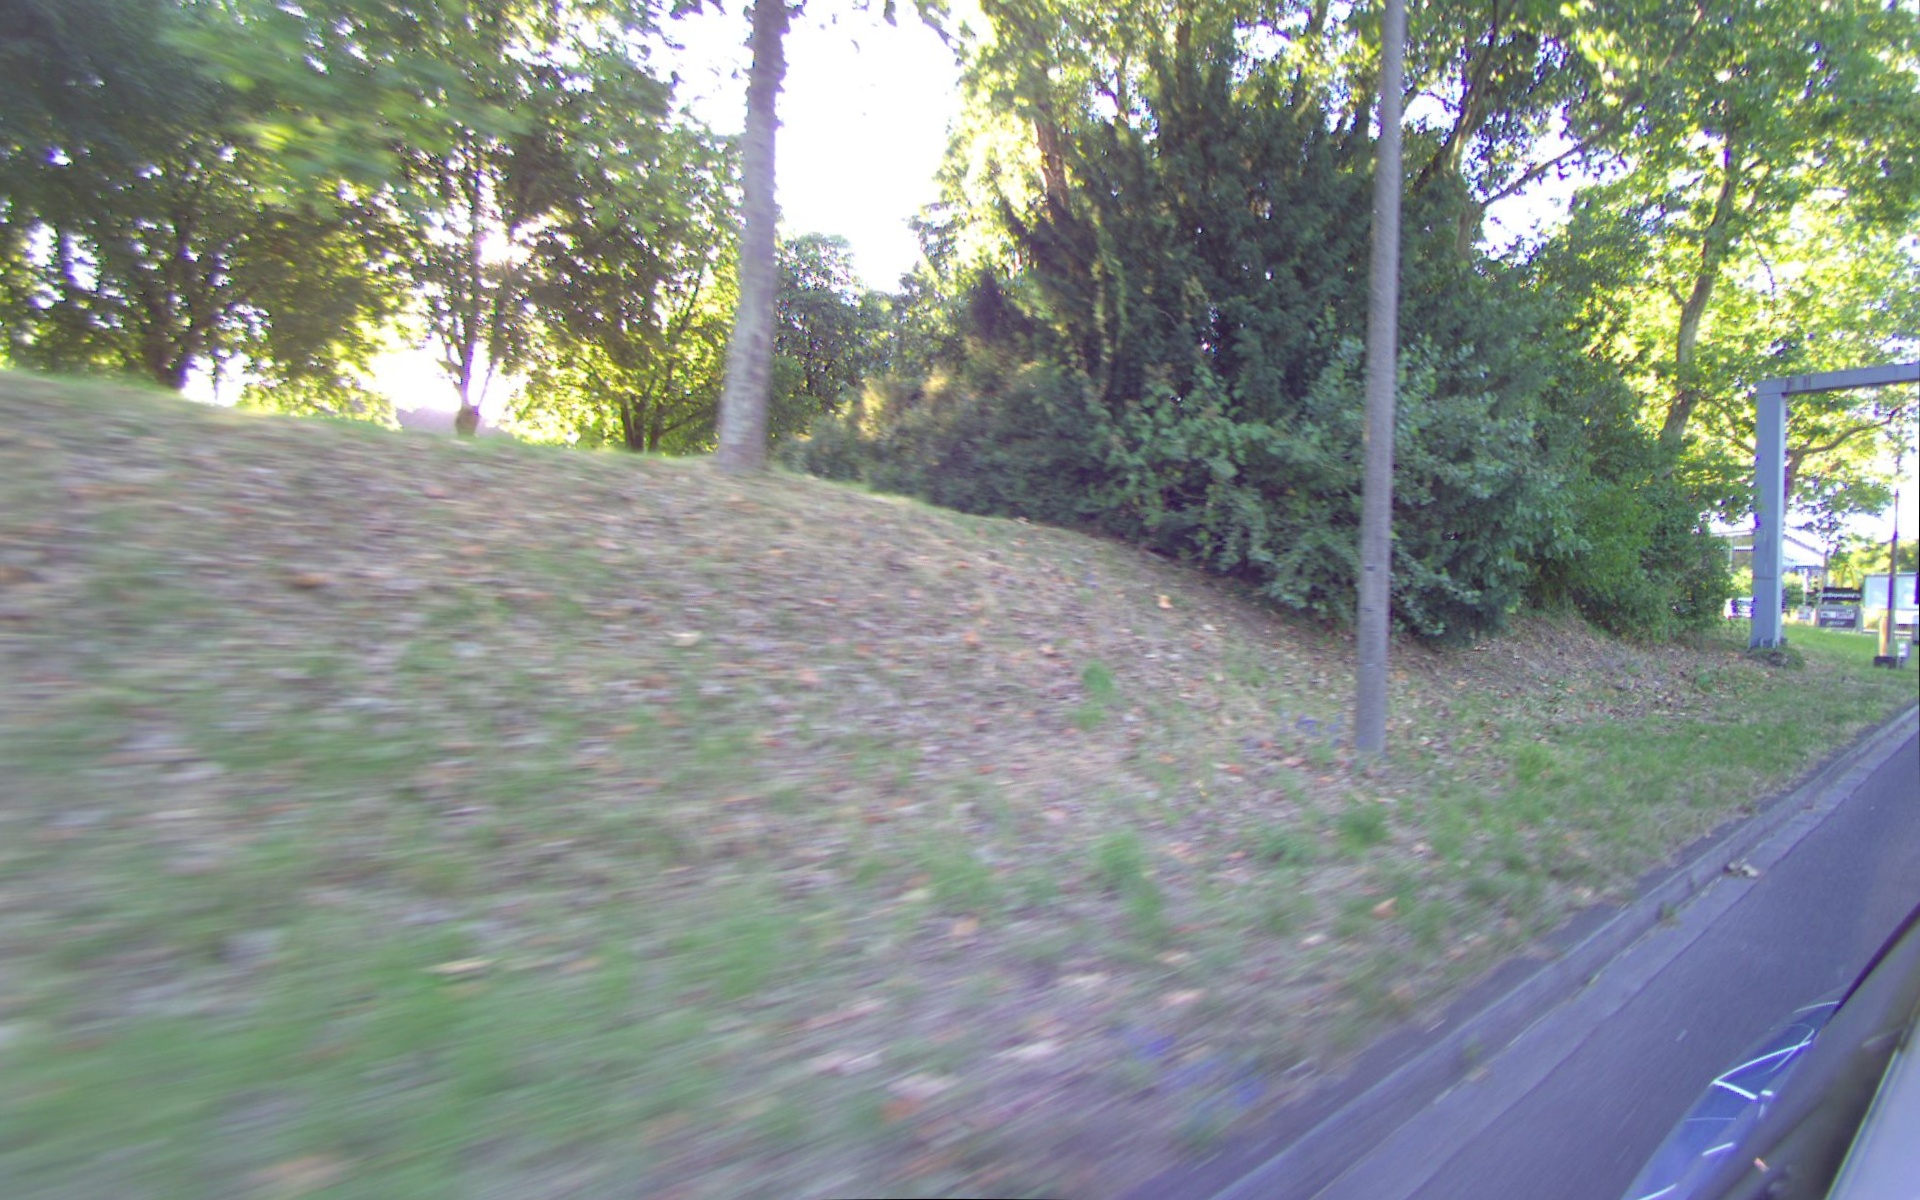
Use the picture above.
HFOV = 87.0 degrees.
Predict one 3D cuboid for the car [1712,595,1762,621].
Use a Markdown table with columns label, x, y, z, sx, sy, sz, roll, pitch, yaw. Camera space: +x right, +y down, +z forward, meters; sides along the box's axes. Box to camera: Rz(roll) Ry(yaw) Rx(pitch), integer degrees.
| label | x | y | z | sx | sy | sz | roll | pitch | yaw |
| --- | --- | --- | --- | --- | --- | --- | --- | --- | --- |
| car | 54.821 | 0.563 | 71.347 | 4.156 | 1.668 | 2.116 | 2 | 2 | -44 |

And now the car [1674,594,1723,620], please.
| label | x | y | z | sx | sy | sz | roll | pitch | yaw |
| --- | --- | --- | --- | --- | --- | --- | --- | --- | --- |
| car | 52.866 | 0.520 | 72.427 | 3.933 | 1.668 | 2.116 | 2 | 2 | -44 |
